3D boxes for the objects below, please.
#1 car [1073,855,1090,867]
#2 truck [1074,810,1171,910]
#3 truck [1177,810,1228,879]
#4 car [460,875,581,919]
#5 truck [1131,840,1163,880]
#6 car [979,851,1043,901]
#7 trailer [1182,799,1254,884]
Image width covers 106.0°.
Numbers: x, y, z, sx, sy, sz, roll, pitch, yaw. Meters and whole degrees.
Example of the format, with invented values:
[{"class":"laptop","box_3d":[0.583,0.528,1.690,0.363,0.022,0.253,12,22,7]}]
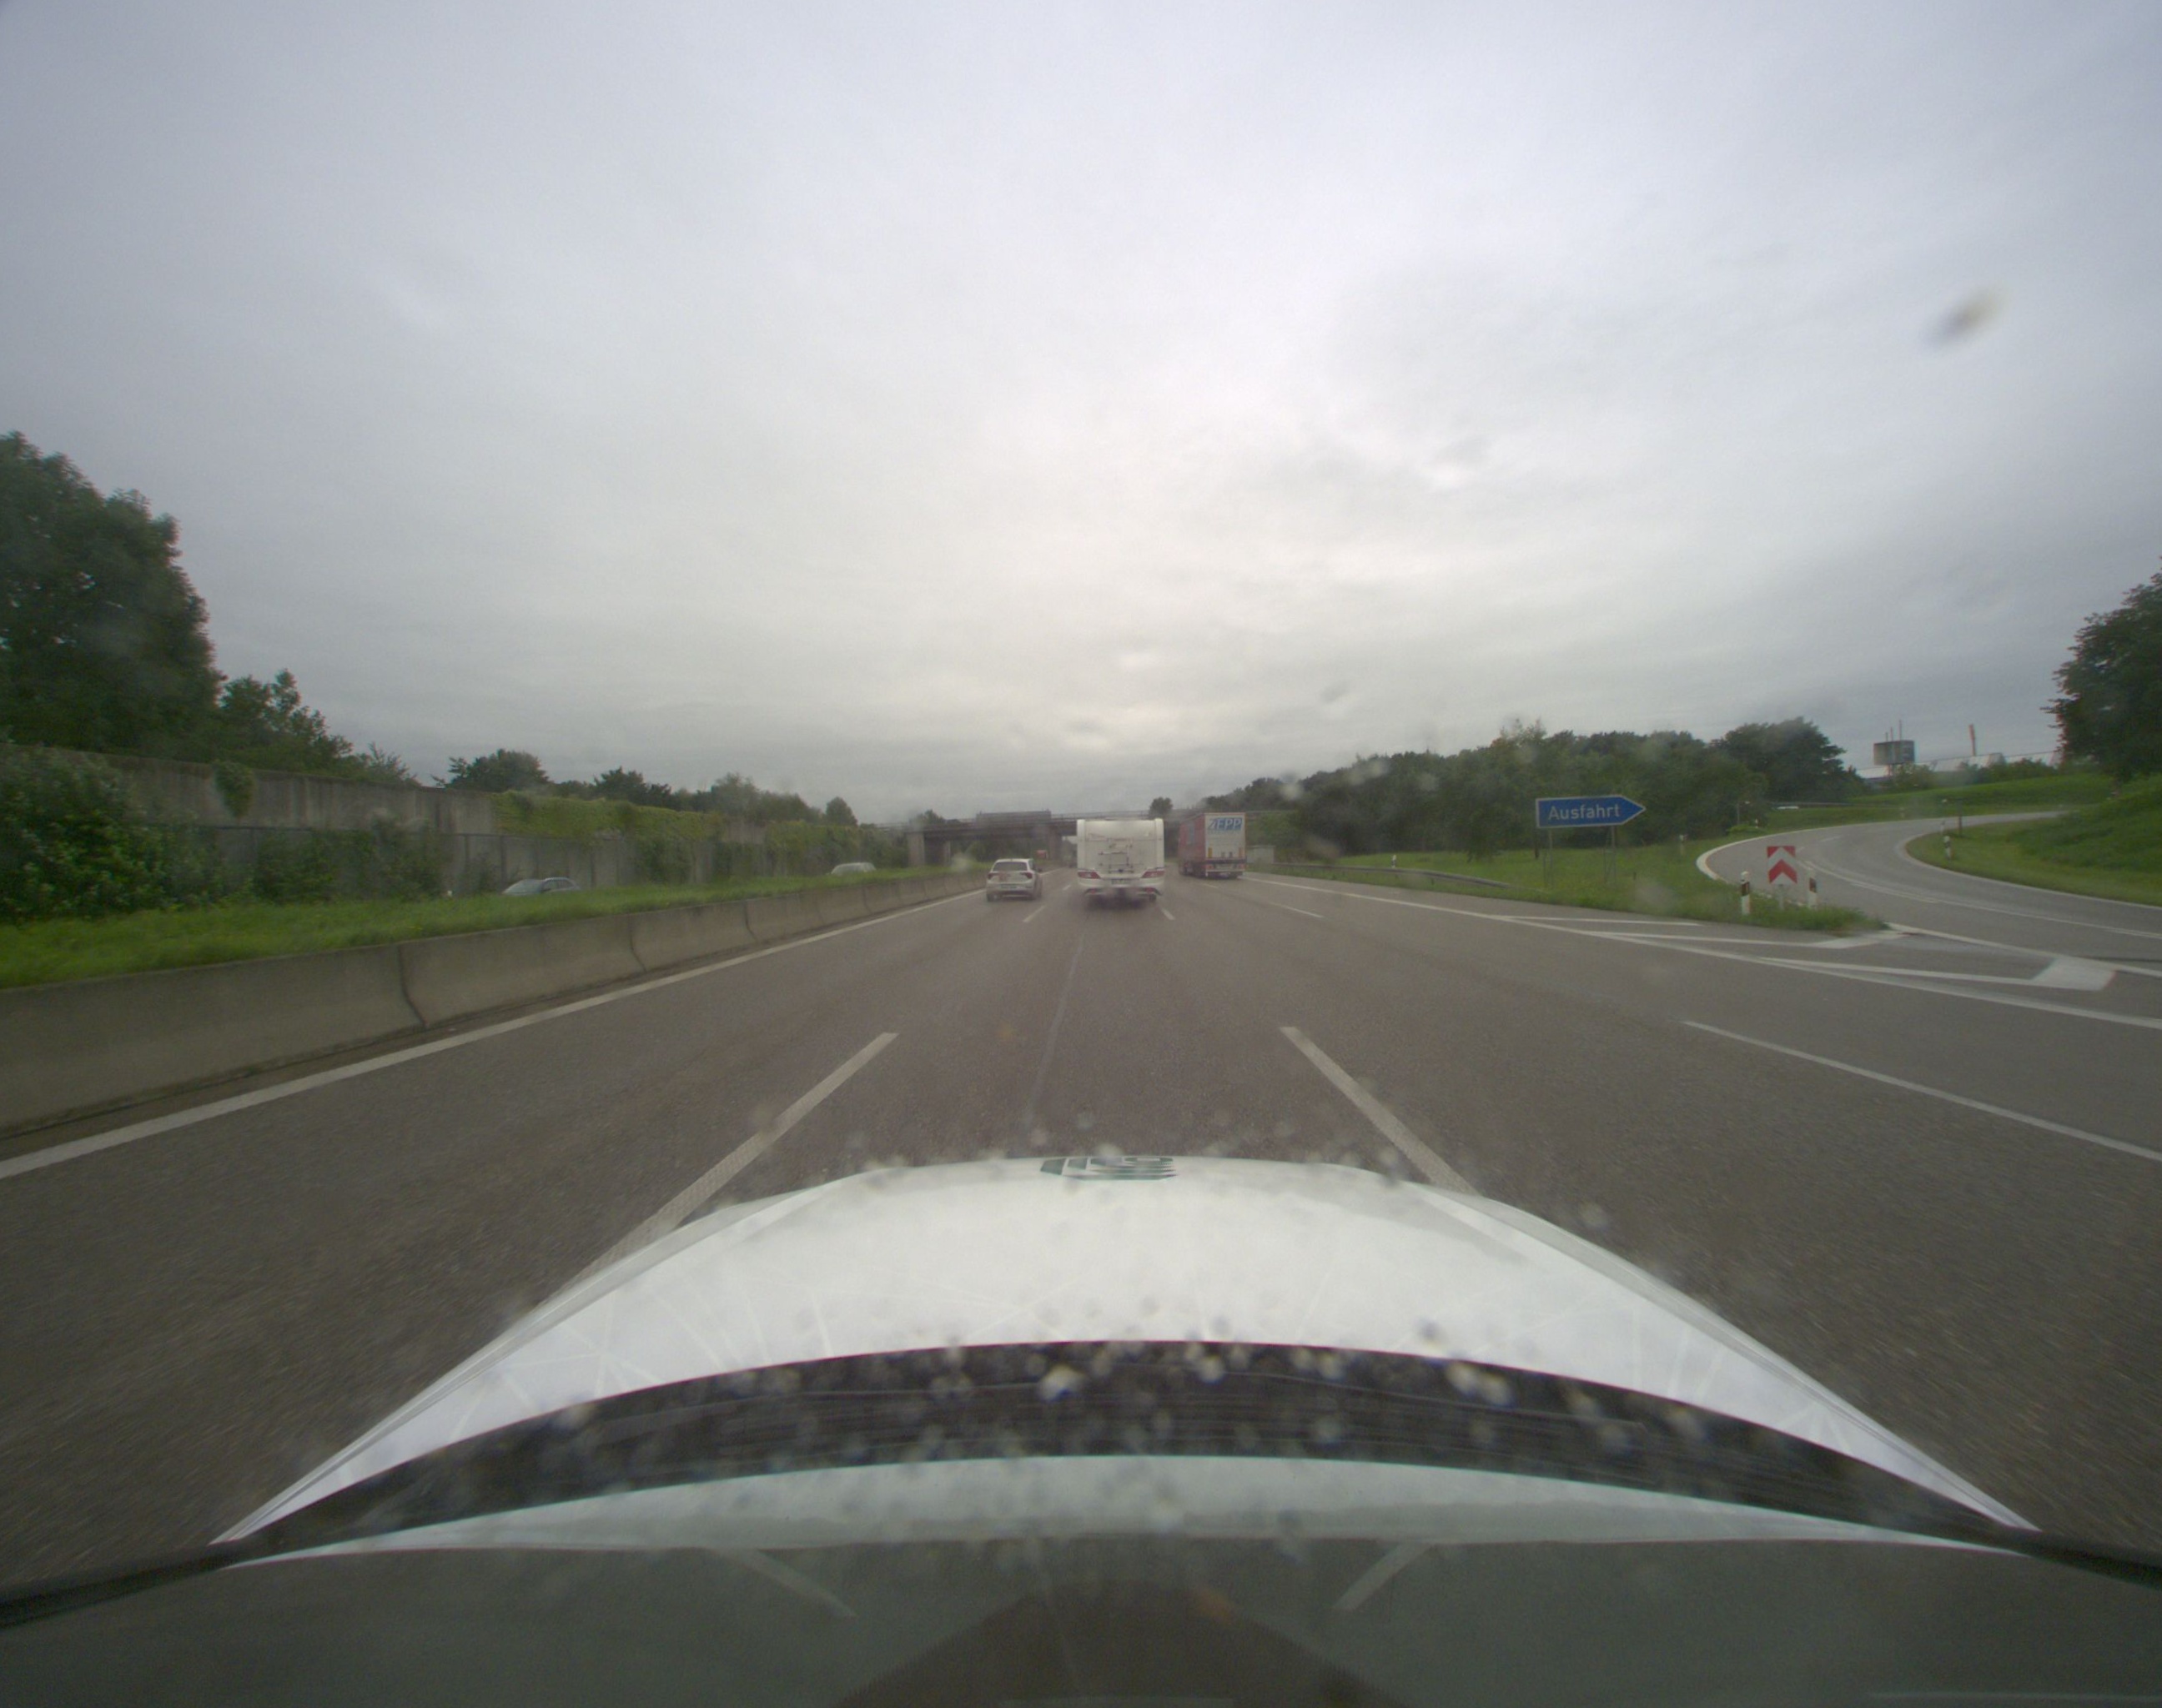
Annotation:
[{"class":"car","box_3d":[0.142,0.964,109.618,1.985,1.600,5.127,0,-1,3]},{"class":"truck","box_3d":[1.211,0.183,24.991,2.651,2.742,5.079,0,-1,1]},{"class":"truck","box_3d":[8.959,-0.652,60.847,3.038,4.839,5.851,0,-1,1]},{"class":"car","box_3d":[-21.862,1.634,31.997,1.987,1.574,3.998,0,-1,-1]},{"class":"truck","box_3d":[4.732,0.444,59.100,2.046,2.770,5.550,0,-1,1]},{"class":"car","box_3d":[-2.450,0.737,29.655,1.746,1.618,4.665,-1,0,2]},{"class":"trailer","box_3d":[8.748,-0.683,53.583,3.088,4.922,11.794,0,-1,2]}]
